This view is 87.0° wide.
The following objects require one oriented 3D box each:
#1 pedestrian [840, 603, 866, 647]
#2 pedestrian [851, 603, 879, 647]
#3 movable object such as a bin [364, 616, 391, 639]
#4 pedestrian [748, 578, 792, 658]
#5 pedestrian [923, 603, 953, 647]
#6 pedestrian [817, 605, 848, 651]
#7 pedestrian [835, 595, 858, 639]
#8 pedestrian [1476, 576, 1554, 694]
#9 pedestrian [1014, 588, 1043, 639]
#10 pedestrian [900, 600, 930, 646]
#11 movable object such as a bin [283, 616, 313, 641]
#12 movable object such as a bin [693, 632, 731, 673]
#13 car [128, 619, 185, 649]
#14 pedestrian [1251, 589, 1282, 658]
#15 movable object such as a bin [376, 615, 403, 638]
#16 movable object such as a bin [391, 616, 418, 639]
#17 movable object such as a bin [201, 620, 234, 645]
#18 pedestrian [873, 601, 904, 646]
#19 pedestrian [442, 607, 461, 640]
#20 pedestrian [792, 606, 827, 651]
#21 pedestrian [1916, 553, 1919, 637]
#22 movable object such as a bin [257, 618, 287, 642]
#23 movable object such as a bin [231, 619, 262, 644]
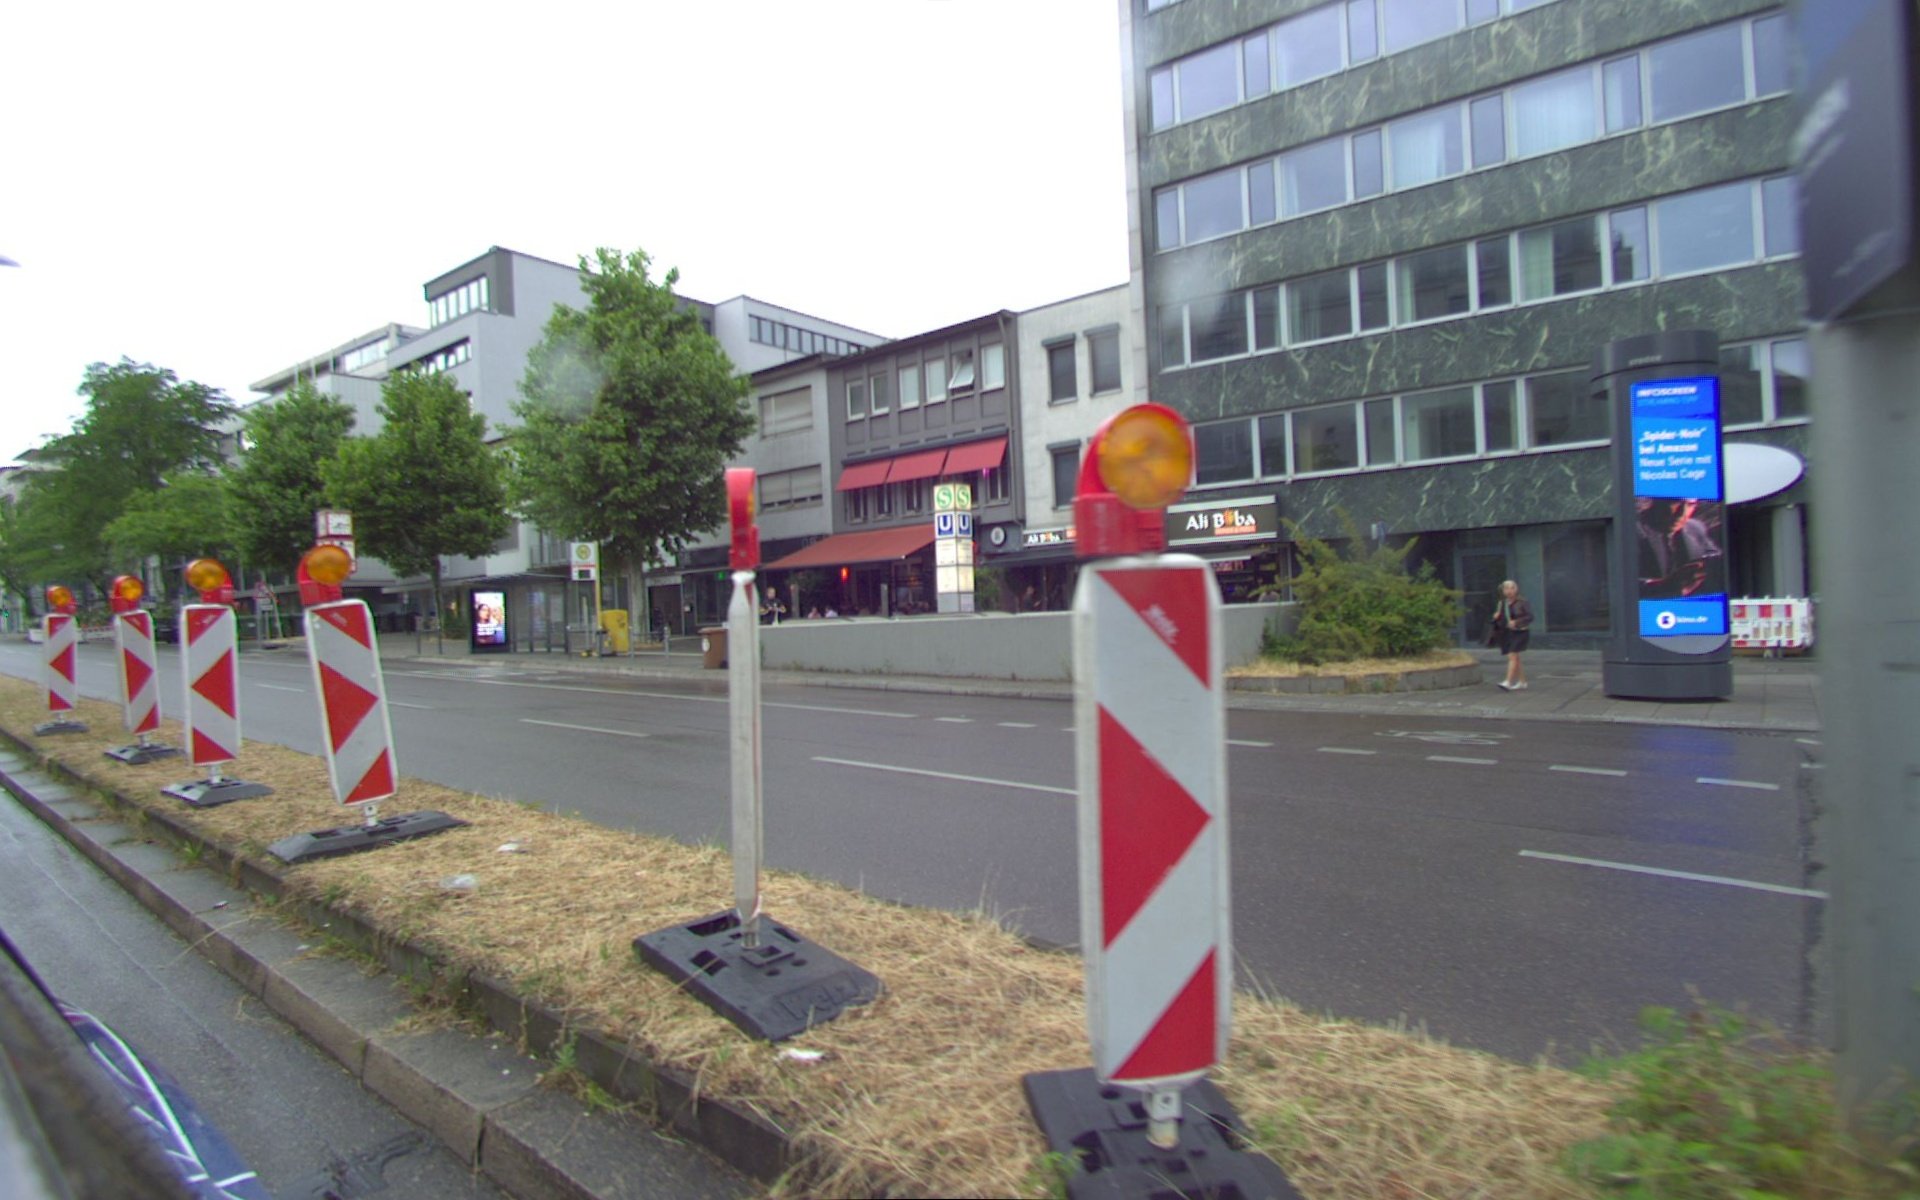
[{"bbox_3d":[-3.696,0.854,34.840,0.546,1.461,0.683,-2,-1,37],"label":"pedestrian"},{"bbox_3d":[-3.228,0.853,34.398,0.582,1.461,0.683,-2,-1,38],"label":"pedestrian"},{"bbox_3d":[-38.588,1.813,67.020,1.278,1.446,1.077,-2,-1,32],"label":"movable object such as a bin"},{"bbox_3d":[-4.570,0.429,24.387,0.757,1.899,0.683,-2,-1,37],"label":"pedestrian"},{"bbox_3d":[-0.709,0.792,32.297,0.690,1.354,0.627,-2,-1,34],"label":"pedestrian"},{"bbox_3d":[-4.166,0.910,32.997,0.706,1.461,0.683,-2,-1,37],"label":"pedestrian"},{"bbox_3d":[-4.132,0.622,36.798,0.603,1.582,0.591,-1,-1,31],"label":"pedestrian"},{"bbox_3d":[8.130,0.497,14.834,0.745,1.665,0.693,-1,-1,-33],"label":"pedestrian"},{"bbox_3d":[1.990,0.400,29.483,0.587,1.461,0.597,-2,-1,36],"label":"pedestrian"},{"bbox_3d":[-1.455,0.757,32.748,0.690,1.461,0.627,-2,-1,34],"label":"pedestrian"},{"bbox_3d":[-40.952,1.736,62.615,1.088,1.499,1.265,-2,-1,41],"label":"movable object such as a bin"},{"bbox_3d":[-5.627,1.180,22.965,0.680,0.904,0.527,-2,-2,32],"label":"movable object such as a bin"},{"bbox_3d":[-47.792,2.027,60.174,4.019,1.648,1.761,-3,-1,38],"label":"car"},{"bbox_3d":[8.590,0.648,28.332,0.590,1.899,0.749,-2,-1,34],"label":"pedestrian"},{"bbox_3d":[-37.302,1.725,66.164,1.278,1.446,1.077,-2,-1,32],"label":"movable object such as a bin"},{"bbox_3d":[-35.998,1.782,65.571,1.278,1.446,1.077,-2,-1,32],"label":"movable object such as a bin"},{"bbox_3d":[-43.591,1.903,59.426,1.088,1.437,1.345,-2,-1,41],"label":"movable object such as a bin"},{"bbox_3d":[-2.389,0.784,33.775,0.690,1.461,0.720,-2,-1,34],"label":"pedestrian"},{"bbox_3d":[-26.956,1.241,53.630,0.653,1.776,0.688,-2,-1,43],"label":"pedestrian"},{"bbox_3d":[-4.997,0.939,33.614,0.912,1.461,0.683,-2,-1,37],"label":"pedestrian"},{"bbox_3d":[17.360,0.071,17.603,0.875,1.868,1.012,-2,-5,37],"label":"pedestrian"},{"bbox_3d":[-41.842,1.816,61.562,1.088,1.437,1.265,-2,-1,41],"label":"movable object such as a bin"},{"bbox_3d":[-42.679,1.904,60.518,1.088,1.437,1.265,-2,-1,41],"label":"movable object such as a bin"}]
